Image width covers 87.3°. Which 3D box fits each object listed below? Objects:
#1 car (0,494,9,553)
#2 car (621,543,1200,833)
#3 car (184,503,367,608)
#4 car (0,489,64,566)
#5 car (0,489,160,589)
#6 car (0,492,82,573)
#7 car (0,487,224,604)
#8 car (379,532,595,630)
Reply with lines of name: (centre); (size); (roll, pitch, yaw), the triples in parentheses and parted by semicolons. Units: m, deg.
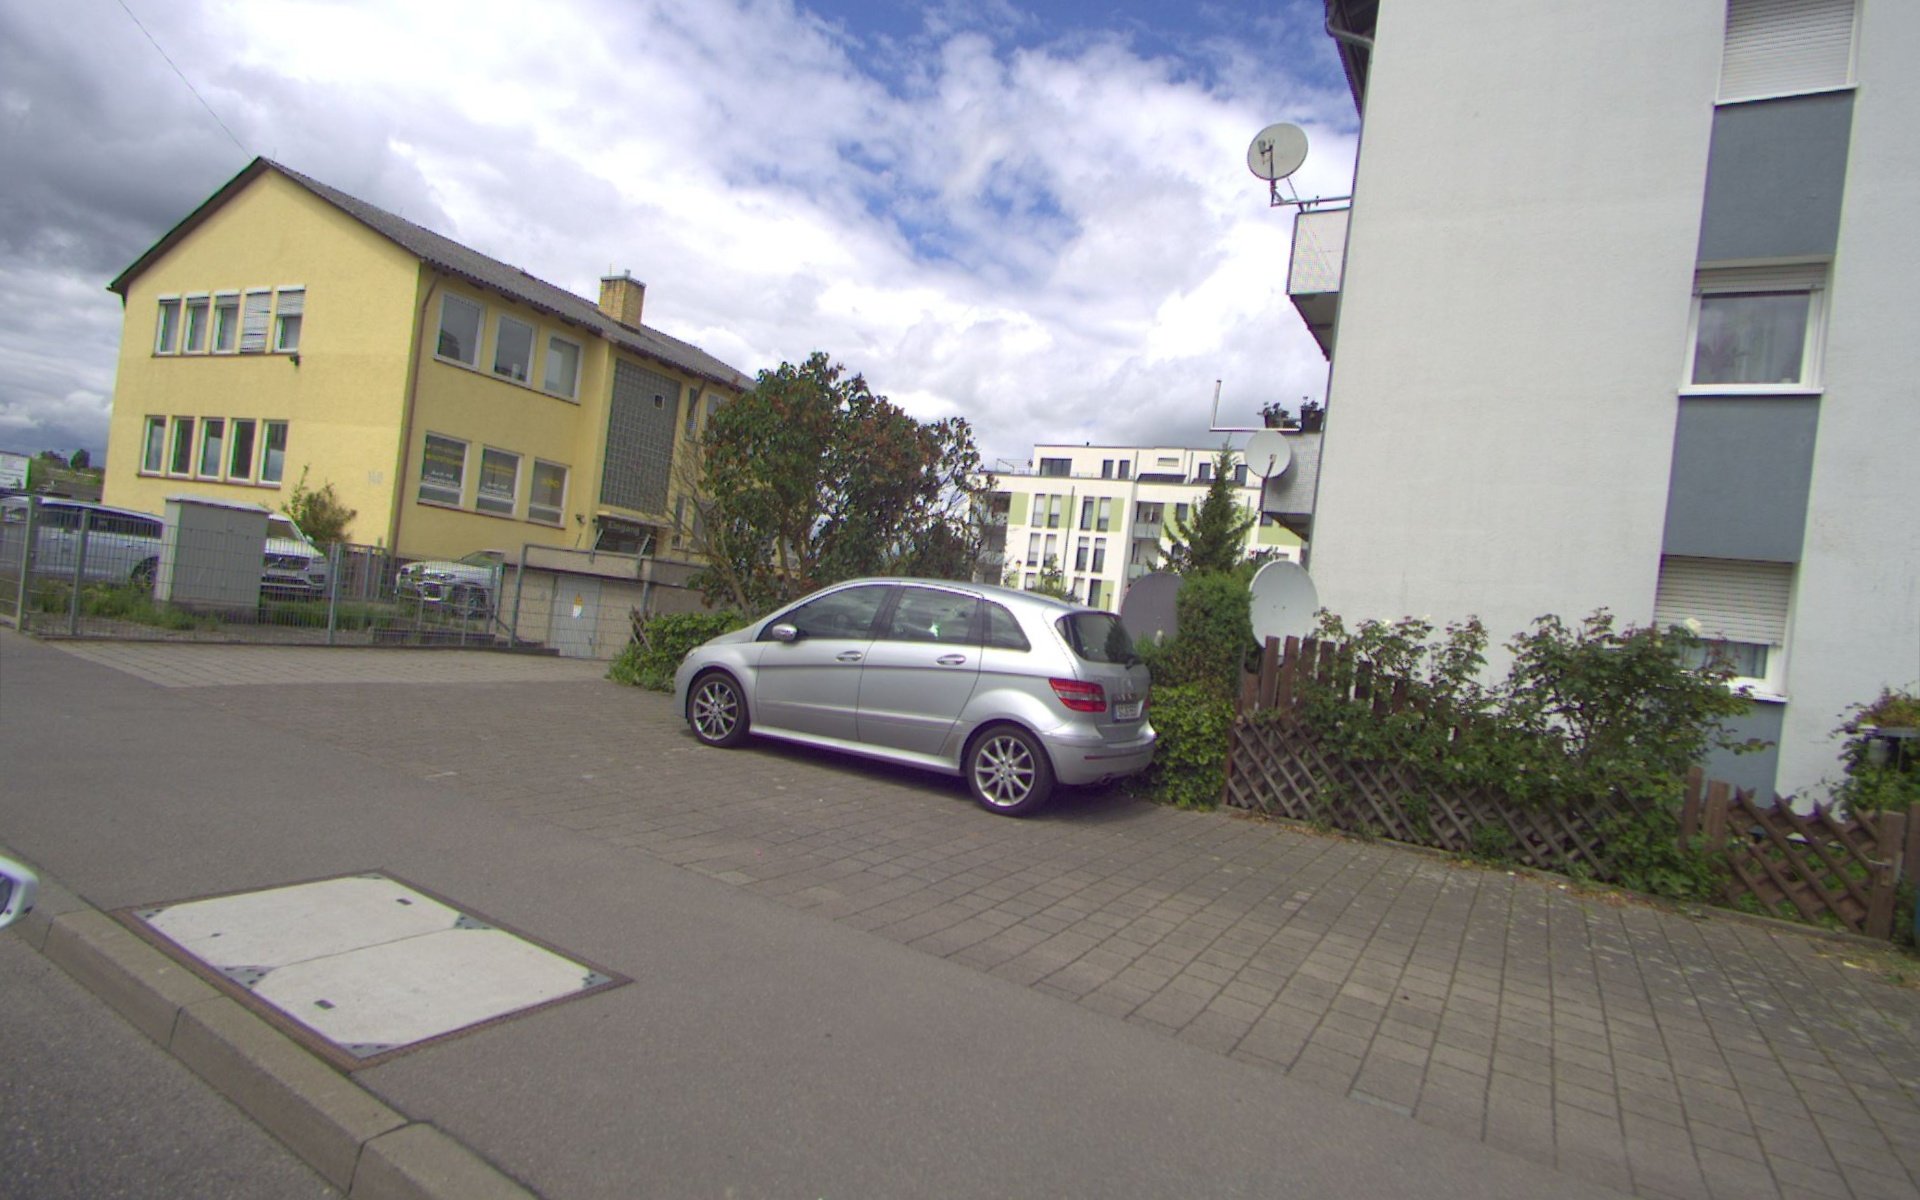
car: (-24.689, -2.114, 22.386); (1.982, 1.510, 4.688); (7, -3, 32)
car: (-0.509, 0.580, 8.487); (4.445, 1.564, 1.878); (7, 0, 30)
car: (-14.830, -1.013, 21.680); (4.961, 1.843, 1.973); (5, -1, 41)
car: (-22.334, -1.902, 21.100); (1.998, 1.496, 4.812); (7, -3, 32)
car: (-17.674, -1.290, 18.065); (2.001, 1.510, 4.669); (7, -2, 31)
car: (-20.164, -1.620, 19.388); (1.955, 1.419, 4.382); (7, -3, 29)
car: (-15.318, -1.019, 16.517); (2.011, 1.510, 4.708); (7, -2, 30)
car: (-10.938, -0.382, 23.556); (1.827, 1.599, 4.138); (7, -3, 30)
